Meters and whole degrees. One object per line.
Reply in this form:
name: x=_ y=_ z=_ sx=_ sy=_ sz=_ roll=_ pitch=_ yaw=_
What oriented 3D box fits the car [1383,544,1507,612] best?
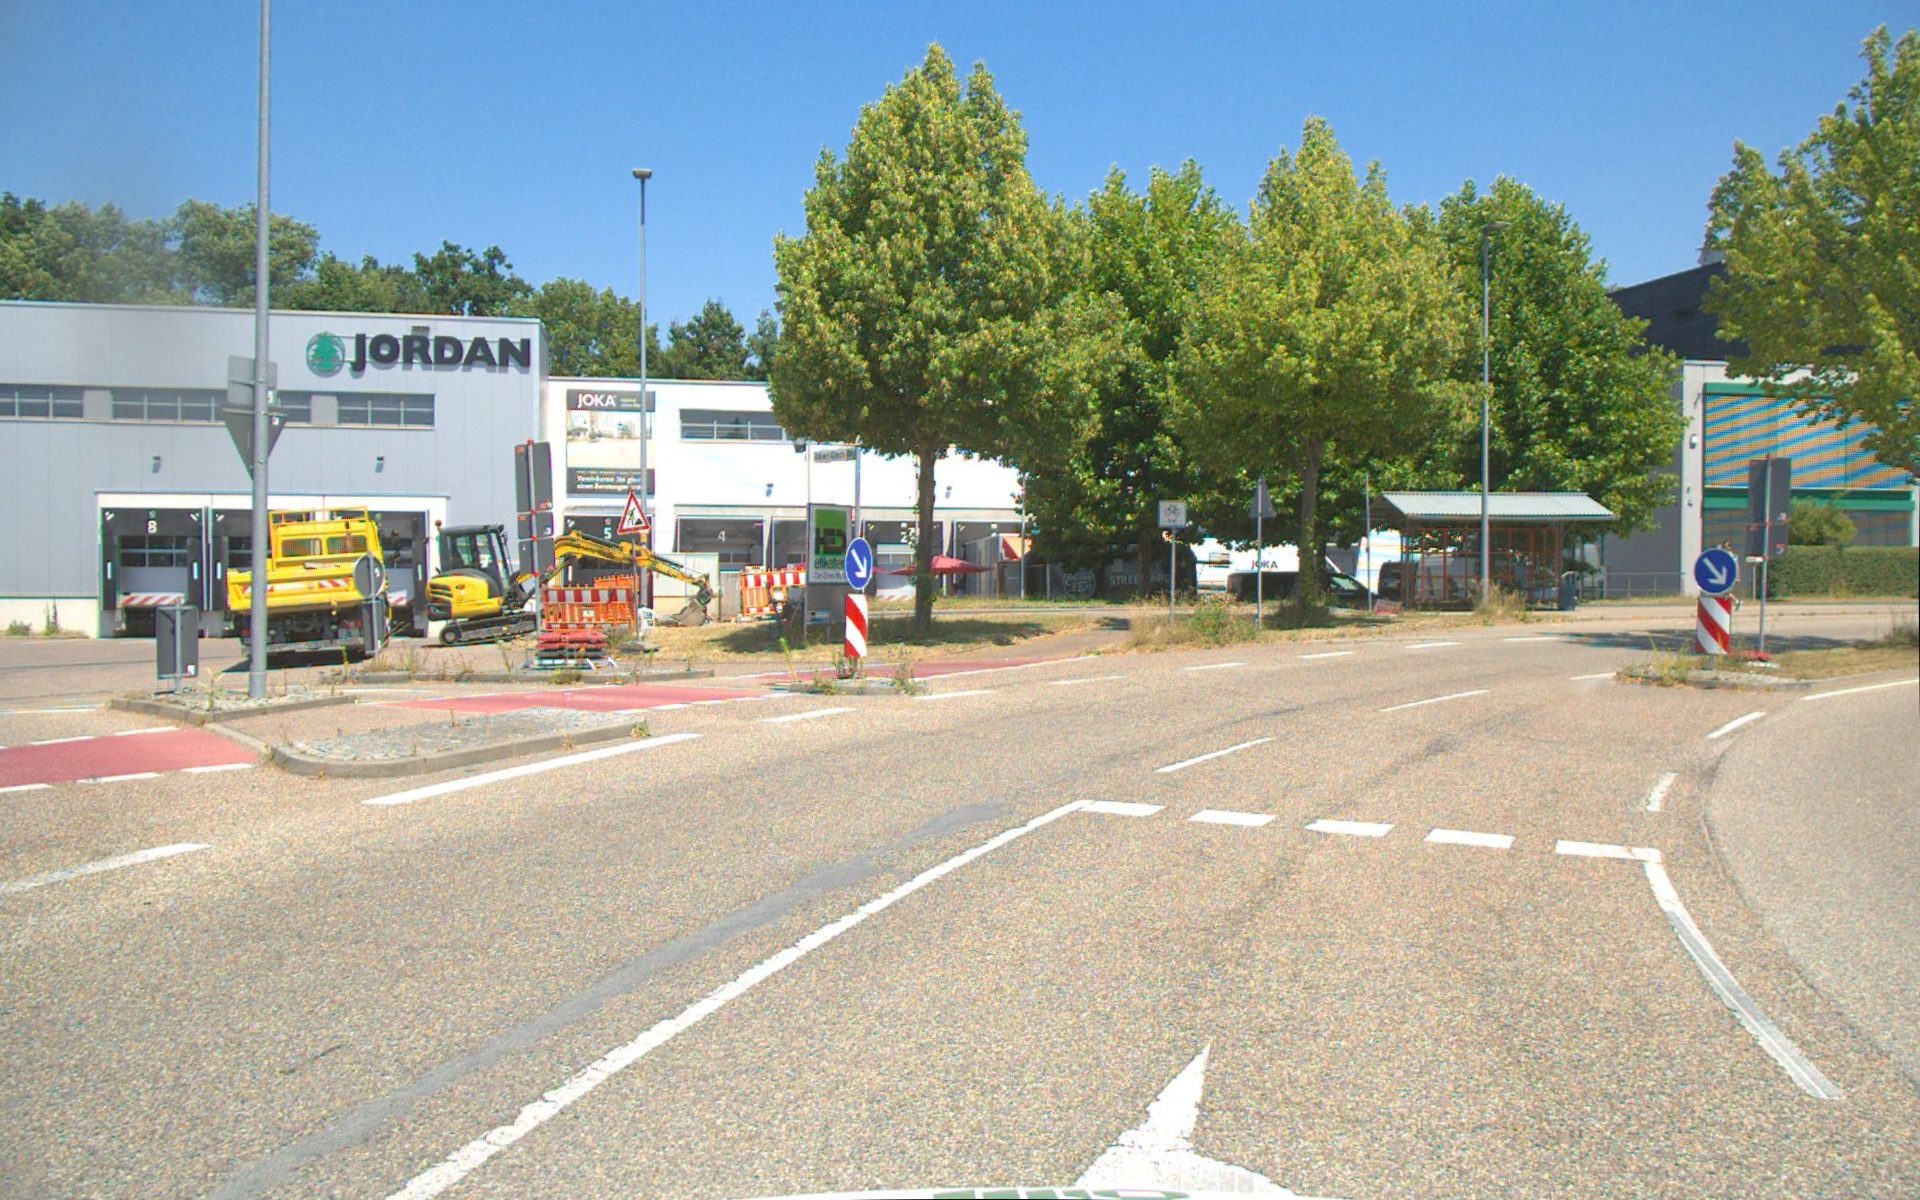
car: x=15.419 y=-0.656 z=52.813 sx=1.522 sy=2.049 sz=4.238 roll=2 pitch=-1 yaw=-21

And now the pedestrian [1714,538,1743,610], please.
pedestrian: x=18.506 y=-0.619 z=39.837 sx=0.518 sy=1.699 sz=0.580 roll=1 pitch=-1 yaw=16

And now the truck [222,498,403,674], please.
truck: x=-13.249 y=-0.439 z=34.343 sx=2.544 sy=3.189 sz=6.401 roll=-3 pitch=4 yaw=-14

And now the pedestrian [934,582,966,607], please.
pedestrian: x=-0.292 y=-0.159 z=47.716 sx=0.845 sy=0.707 sz=0.408 roll=-1 pitch=1 yaw=12

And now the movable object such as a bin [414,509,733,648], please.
movable object such as a bin: x=-8.292 y=-0.481 z=36.002 sx=6.431 sy=2.626 sz=1.997 roll=-3 pitch=0 yaw=-6

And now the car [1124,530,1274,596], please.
car: x=6.896 y=-1.071 z=47.959 sx=3.914 sy=1.758 sz=1.837 roll=-2 pitch=1 yaw=-9
